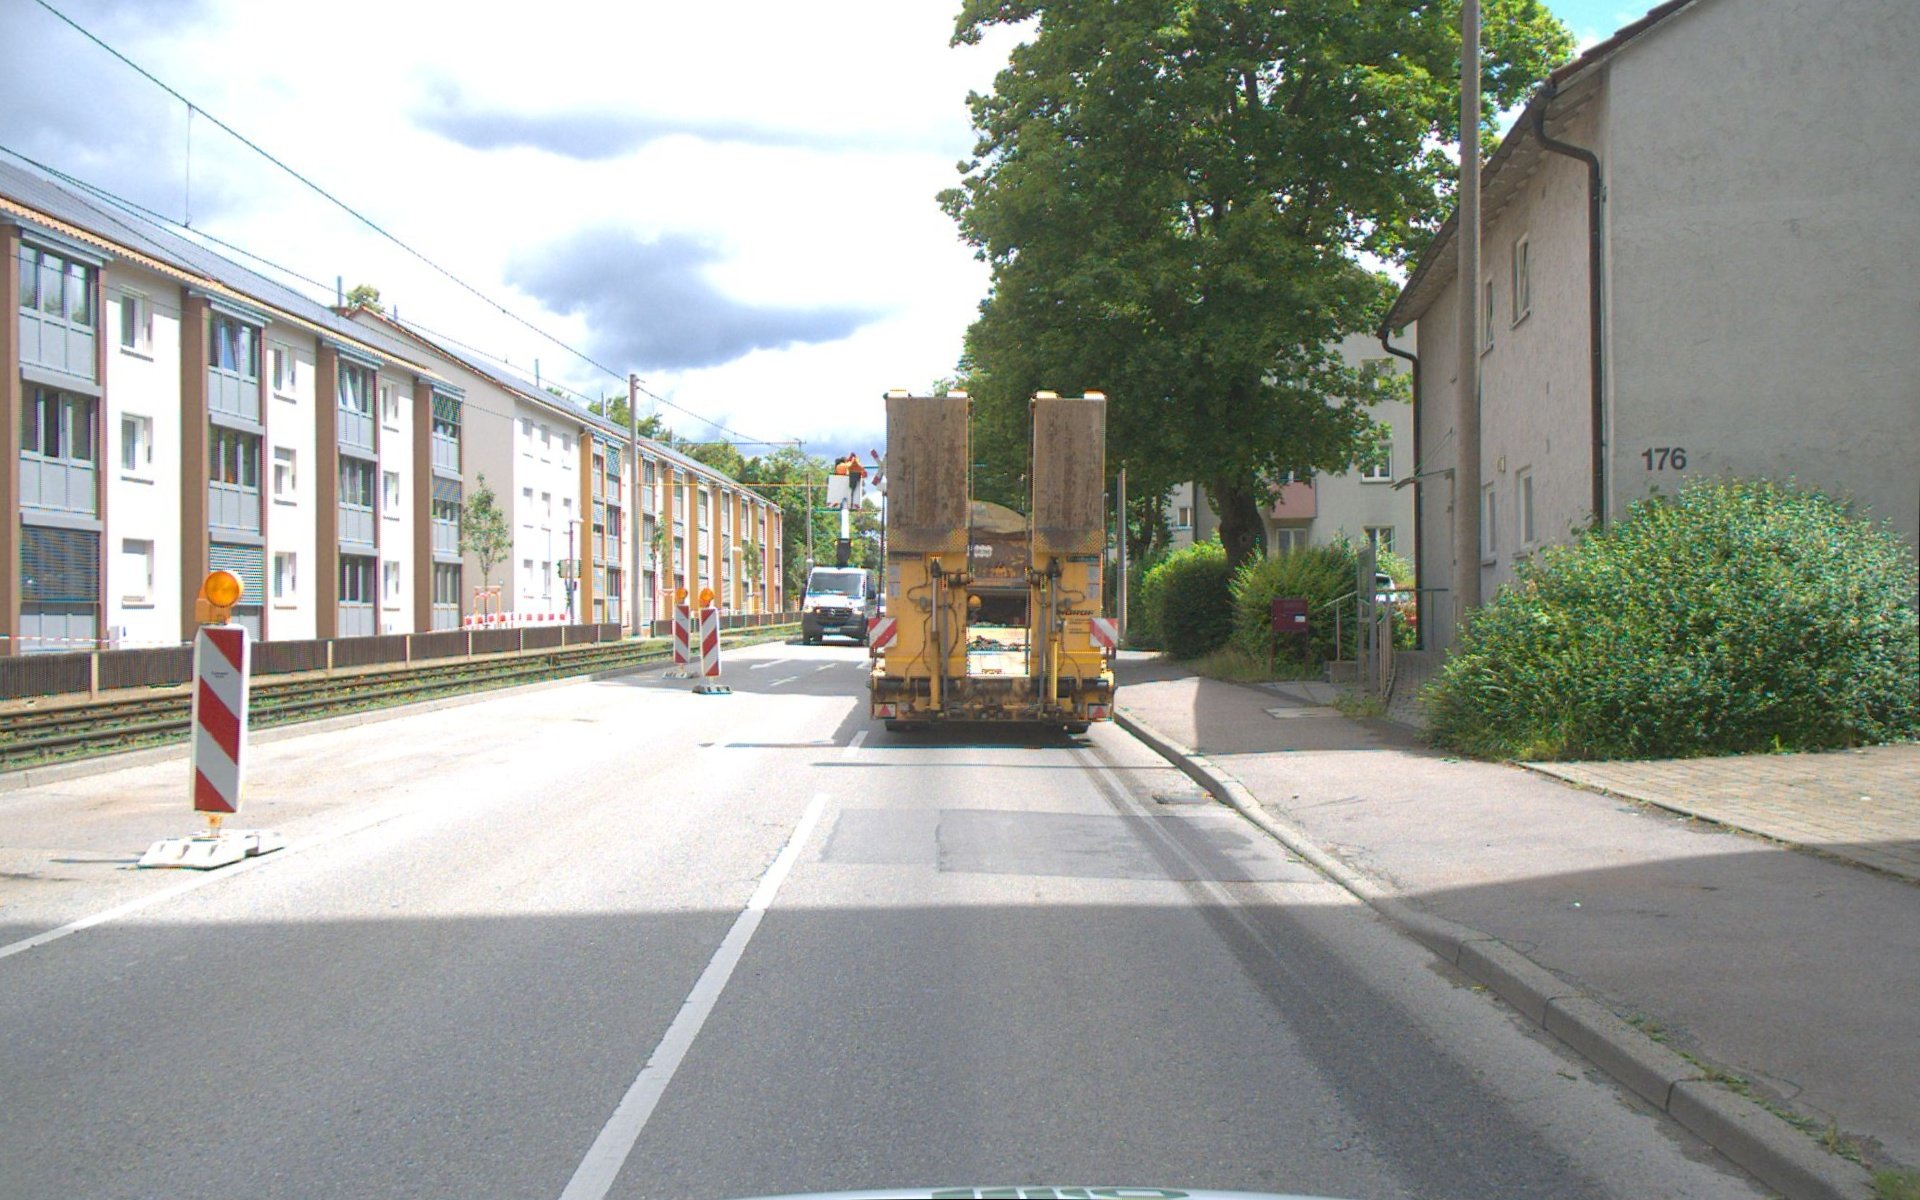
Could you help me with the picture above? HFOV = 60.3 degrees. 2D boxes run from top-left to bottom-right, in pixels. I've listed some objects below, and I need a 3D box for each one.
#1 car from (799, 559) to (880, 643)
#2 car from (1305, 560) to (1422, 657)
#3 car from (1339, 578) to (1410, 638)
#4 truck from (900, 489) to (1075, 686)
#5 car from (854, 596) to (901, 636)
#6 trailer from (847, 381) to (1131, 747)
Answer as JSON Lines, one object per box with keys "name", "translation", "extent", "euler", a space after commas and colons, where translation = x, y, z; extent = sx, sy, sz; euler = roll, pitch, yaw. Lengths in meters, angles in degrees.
{"name": "car", "translation": [-3.694, 0.030, 51.865], "extent": [1.952, 2.473, 6.322], "euler": [1, 0, 1]}
{"name": "car", "translation": [7.628, 0.167, 31.575], "extent": [1.773, 1.678, 4.003], "euler": [-2, -1, 8]}
{"name": "car", "translation": [11.051, 0.199, 44.264], "extent": [1.627, 1.506, 3.695], "euler": [-2, 0, 12]}
{"name": "truck", "translation": [0.473, -0.203, 31.313], "extent": [2.857, 3.222, 7.680], "euler": [1, 0, 0]}
{"name": "car", "translation": [-3.334, 0.639, 67.499], "extent": [1.683, 1.579, 3.917], "euler": [1, 0, 0]}
{"name": "trailer", "translation": [0.347, -0.347, 21.967], "extent": [2.764, 3.586, 11.052], "euler": [1, 0, 1]}
